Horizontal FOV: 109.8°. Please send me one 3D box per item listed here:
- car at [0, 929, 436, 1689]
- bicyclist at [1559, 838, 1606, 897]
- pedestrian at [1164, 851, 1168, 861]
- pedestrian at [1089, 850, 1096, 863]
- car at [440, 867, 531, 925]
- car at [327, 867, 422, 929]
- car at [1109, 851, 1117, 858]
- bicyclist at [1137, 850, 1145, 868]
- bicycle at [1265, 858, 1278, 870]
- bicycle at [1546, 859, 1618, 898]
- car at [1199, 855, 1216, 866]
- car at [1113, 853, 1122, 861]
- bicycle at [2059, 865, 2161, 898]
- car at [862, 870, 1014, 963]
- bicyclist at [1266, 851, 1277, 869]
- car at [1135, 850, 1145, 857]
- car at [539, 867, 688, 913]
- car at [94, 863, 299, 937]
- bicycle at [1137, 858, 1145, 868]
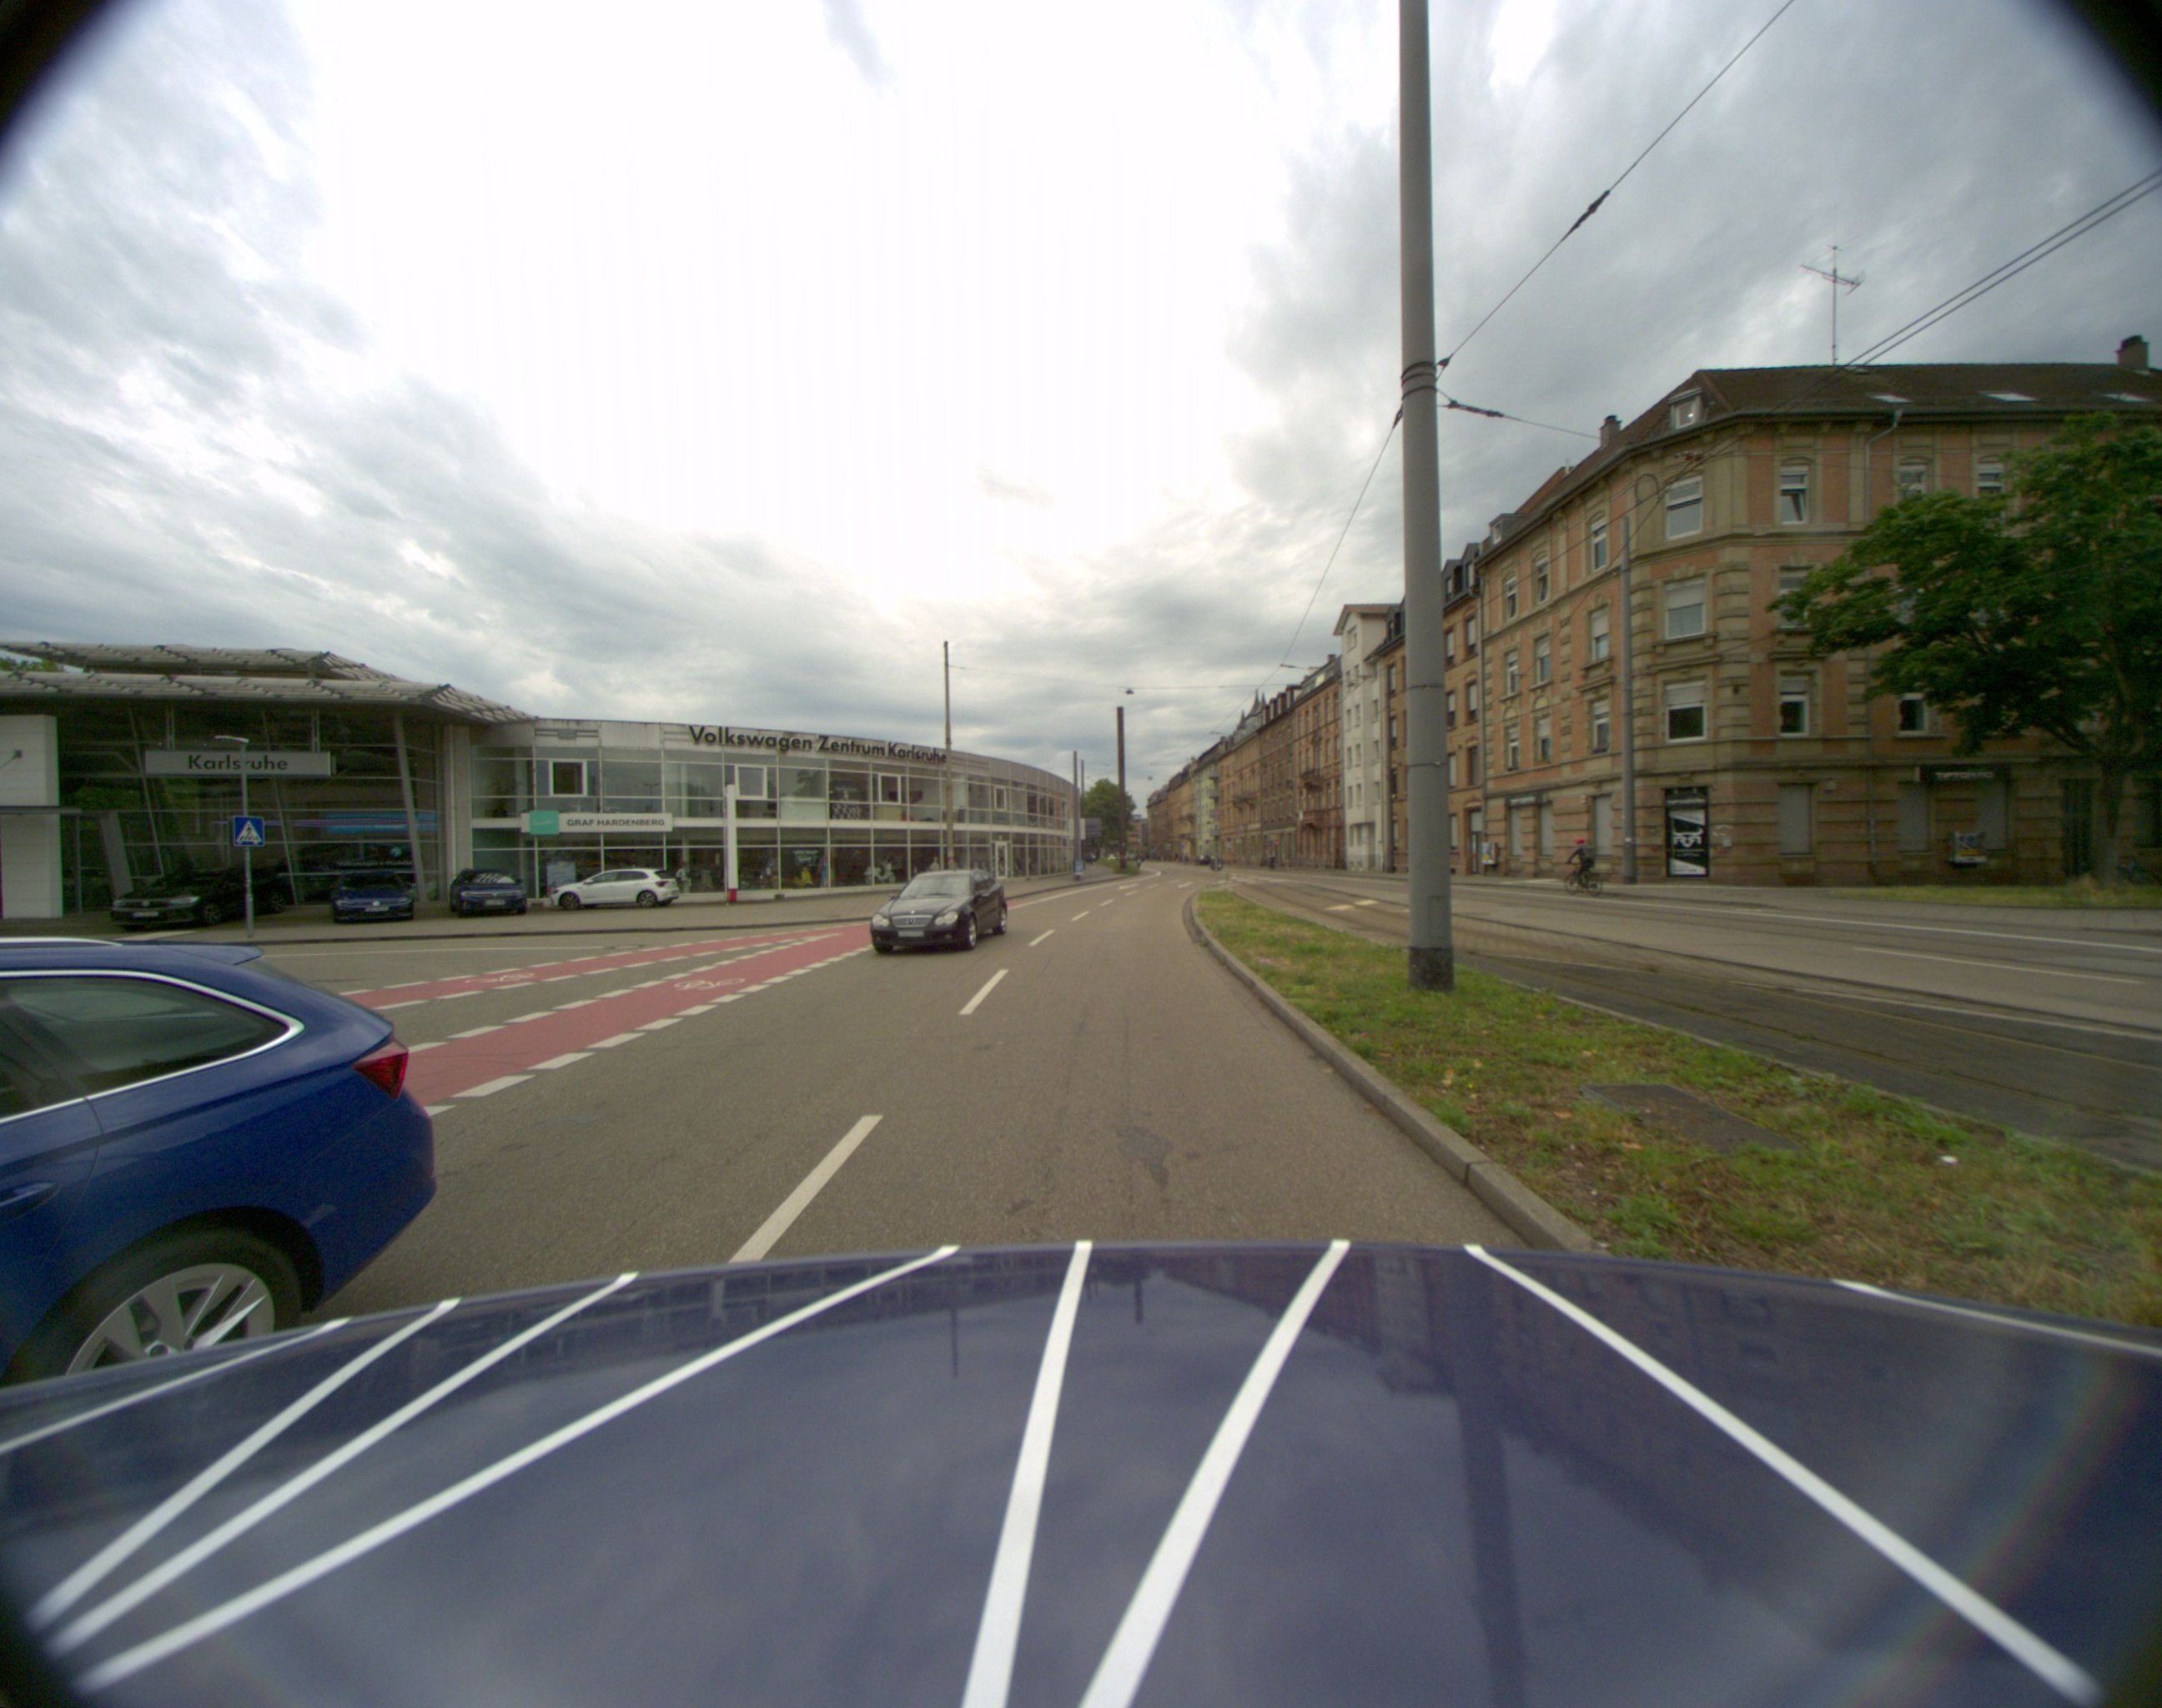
[{"bbox_3d":[-3.183,1.036,0.408,1.784,1.480,4.465,-1,1,1],"label":"car"},{"bbox_3d":[16.282,0.431,24.701,0.831,1.881,1.049,0,0,-1],"label":"bicyclist"},{"bbox_3d":[16.859,0.456,150.473,0.814,2.002,0.733,-1,1,1],"label":"pedestrian"},{"bbox_3d":[1.615,0.319,106.239,0.871,1.843,0.706,-1,1,1],"label":"pedestrian"},{"bbox_3d":[-20.144,1.338,25.630,1.905,1.554,4.207,-2,3,-45],"label":"car"},{"bbox_3d":[-22.197,1.308,23.833,4.325,1.496,1.862,3,3,43],"label":"car"},{"bbox_3d":[7.917,0.014,187.464,1.802,1.630,4.230,-1,0,1],"label":"car"},{"bbox_3d":[6.037,0.526,76.742,0.730,1.747,0.911,-1,1,7],"label":"bicyclist"},{"bbox_3d":[16.305,0.851,65.074,0.607,0.910,1.719,-1,0,-4],"label":"bicycle"},{"bbox_3d":[16.277,0.761,24.761,0.826,1.201,2.234,0,0,-1],"label":"bicycle"},{"bbox_3d":[17.077,0.864,103.009,1.852,1.471,3.828,-1,0,3],"label":"car"},{"bbox_3d":[7.949,0.657,165.812,1.802,1.630,4.230,-1,0,1],"label":"car"},{"bbox_3d":[30.327,0.820,22.226,0.662,0.909,1.989,0,-3,-10],"label":"bicycle"},{"bbox_3d":[-2.535,1.072,14.498,1.713,1.413,4.071,-1,0,6],"label":"car"},{"bbox_3d":[16.288,0.481,65.046,0.663,1.486,0.942,-1,1,-3],"label":"bicyclist"},{"bbox_3d":[12.641,-0.121,163.188,1.802,1.630,4.230,-1,0,1],"label":"car"},{"bbox_3d":[-16.994,1.280,27.829,4.263,1.444,1.781,-1,0,-9],"label":"car"},{"bbox_3d":[-26.470,1.288,23.029,1.862,1.624,4.500,-3,4,-18],"label":"car"},{"bbox_3d":[6.041,0.886,76.738,0.727,1.003,2.177,-1,0,7],"label":"bicycle"}]
